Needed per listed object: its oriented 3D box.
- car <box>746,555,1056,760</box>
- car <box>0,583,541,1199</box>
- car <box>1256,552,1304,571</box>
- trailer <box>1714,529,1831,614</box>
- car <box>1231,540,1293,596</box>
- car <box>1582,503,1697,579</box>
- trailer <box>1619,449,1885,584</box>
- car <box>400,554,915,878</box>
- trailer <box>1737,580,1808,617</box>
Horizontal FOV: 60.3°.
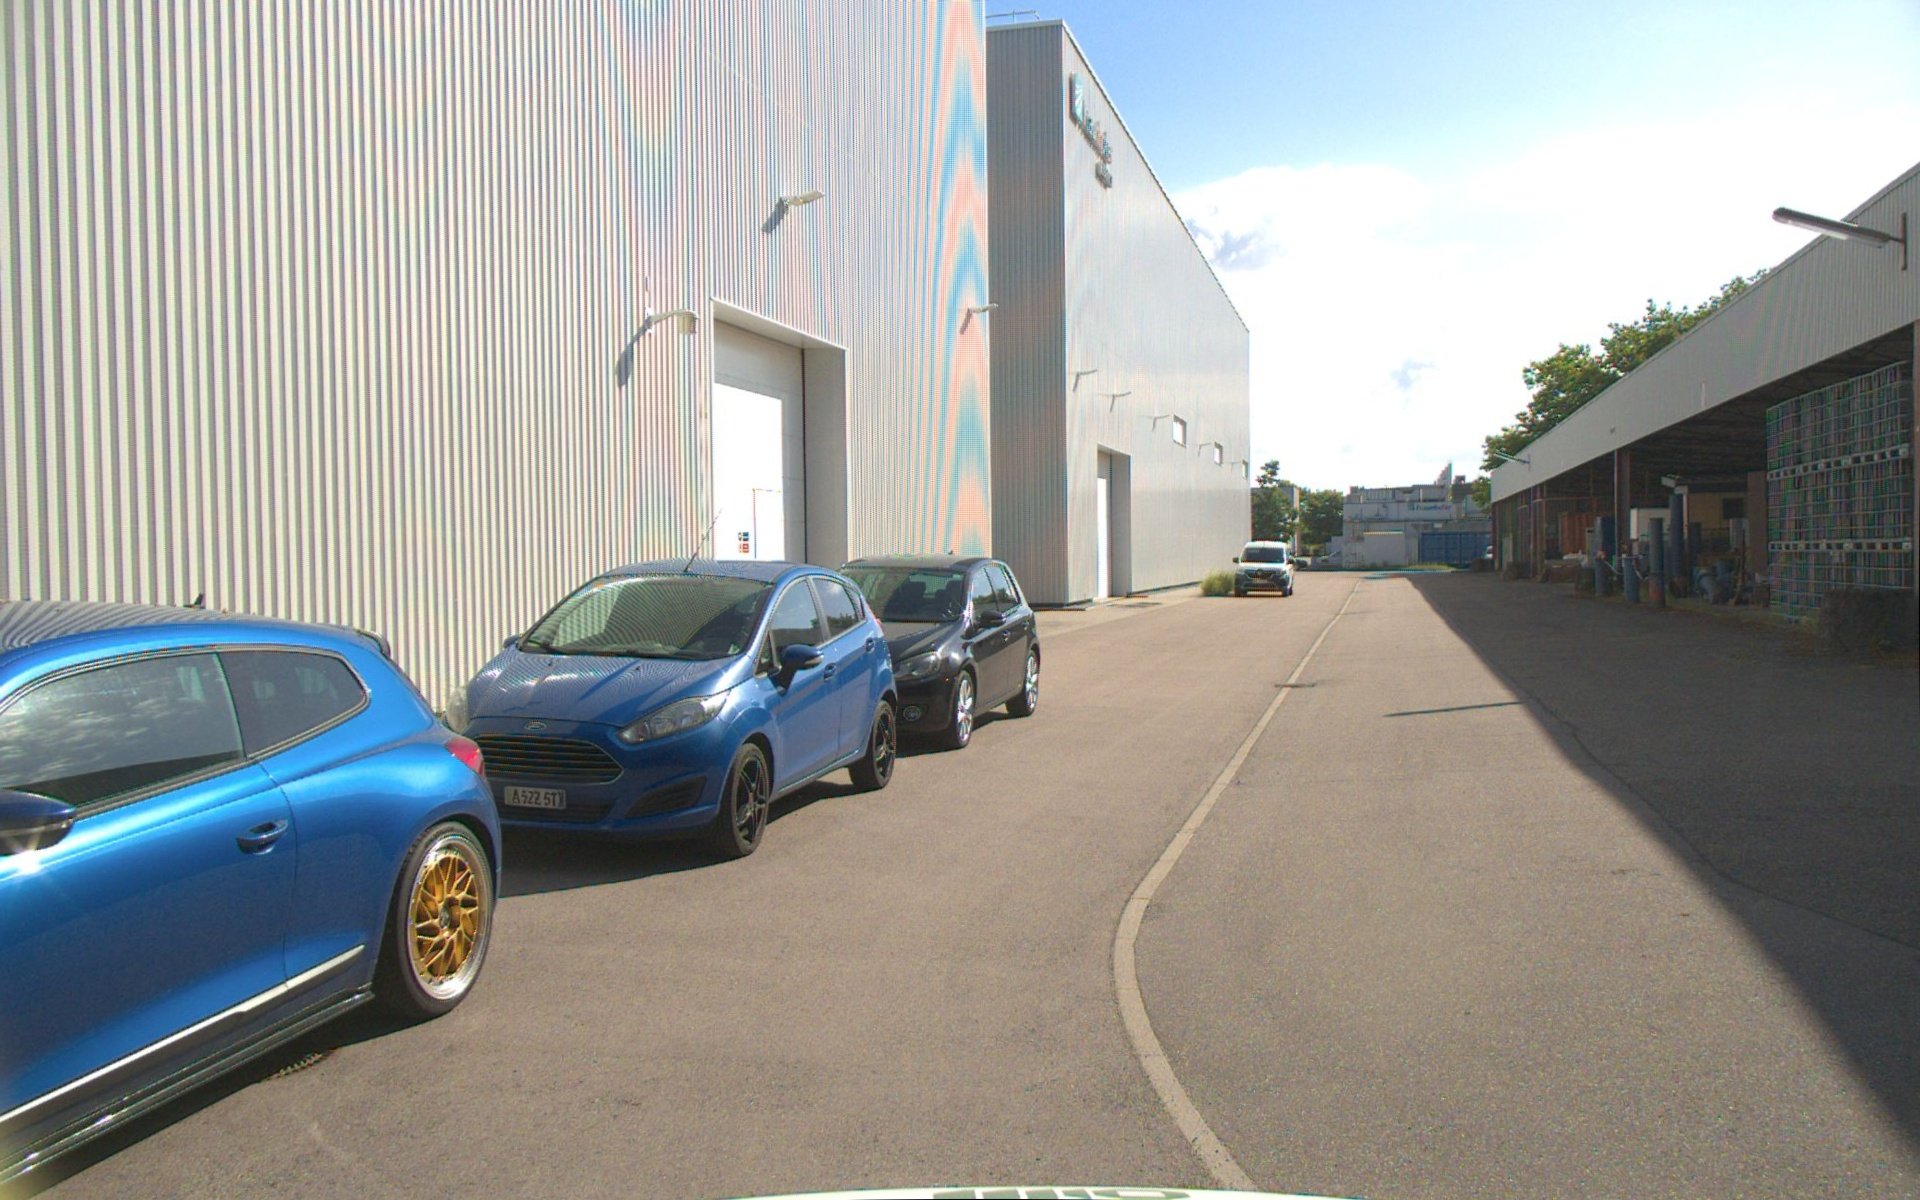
[{"bbox_3d":[-0.356,0.372,14.348,1.615,1.471,3.881,2,2,14],"label":"car"},{"bbox_3d":[-2.752,0.692,4.187,1.633,1.373,3.958,1,2,13],"label":"car"},{"bbox_3d":[26.480,-3.192,136.655,3.802,1.487,1.625,-1,1,14],"label":"car"},{"bbox_3d":[15.687,-0.574,32.016,1.512,1.545,1.916,1,3,10],"label":"trailer"},{"bbox_3d":[10.247,-1.096,55.917,1.867,1.825,4.004,-1,1,12],"label":"car"},{"bbox_3d":[23.735,-2.037,57.893,3.430,2.484,2.002,-2,1,15],"label":"car"},{"bbox_3d":[22.223,-2.299,46.756,6.252,3.429,2.828,-2,1,14],"label":"trailer"},{"bbox_3d":[-1.495,0.479,9.596,1.585,1.472,3.768,0,2,13],"label":"car"},{"bbox_3d":[14.267,-0.032,29.063,0.950,0.577,0.733,1,3,10],"label":"trailer"}]
